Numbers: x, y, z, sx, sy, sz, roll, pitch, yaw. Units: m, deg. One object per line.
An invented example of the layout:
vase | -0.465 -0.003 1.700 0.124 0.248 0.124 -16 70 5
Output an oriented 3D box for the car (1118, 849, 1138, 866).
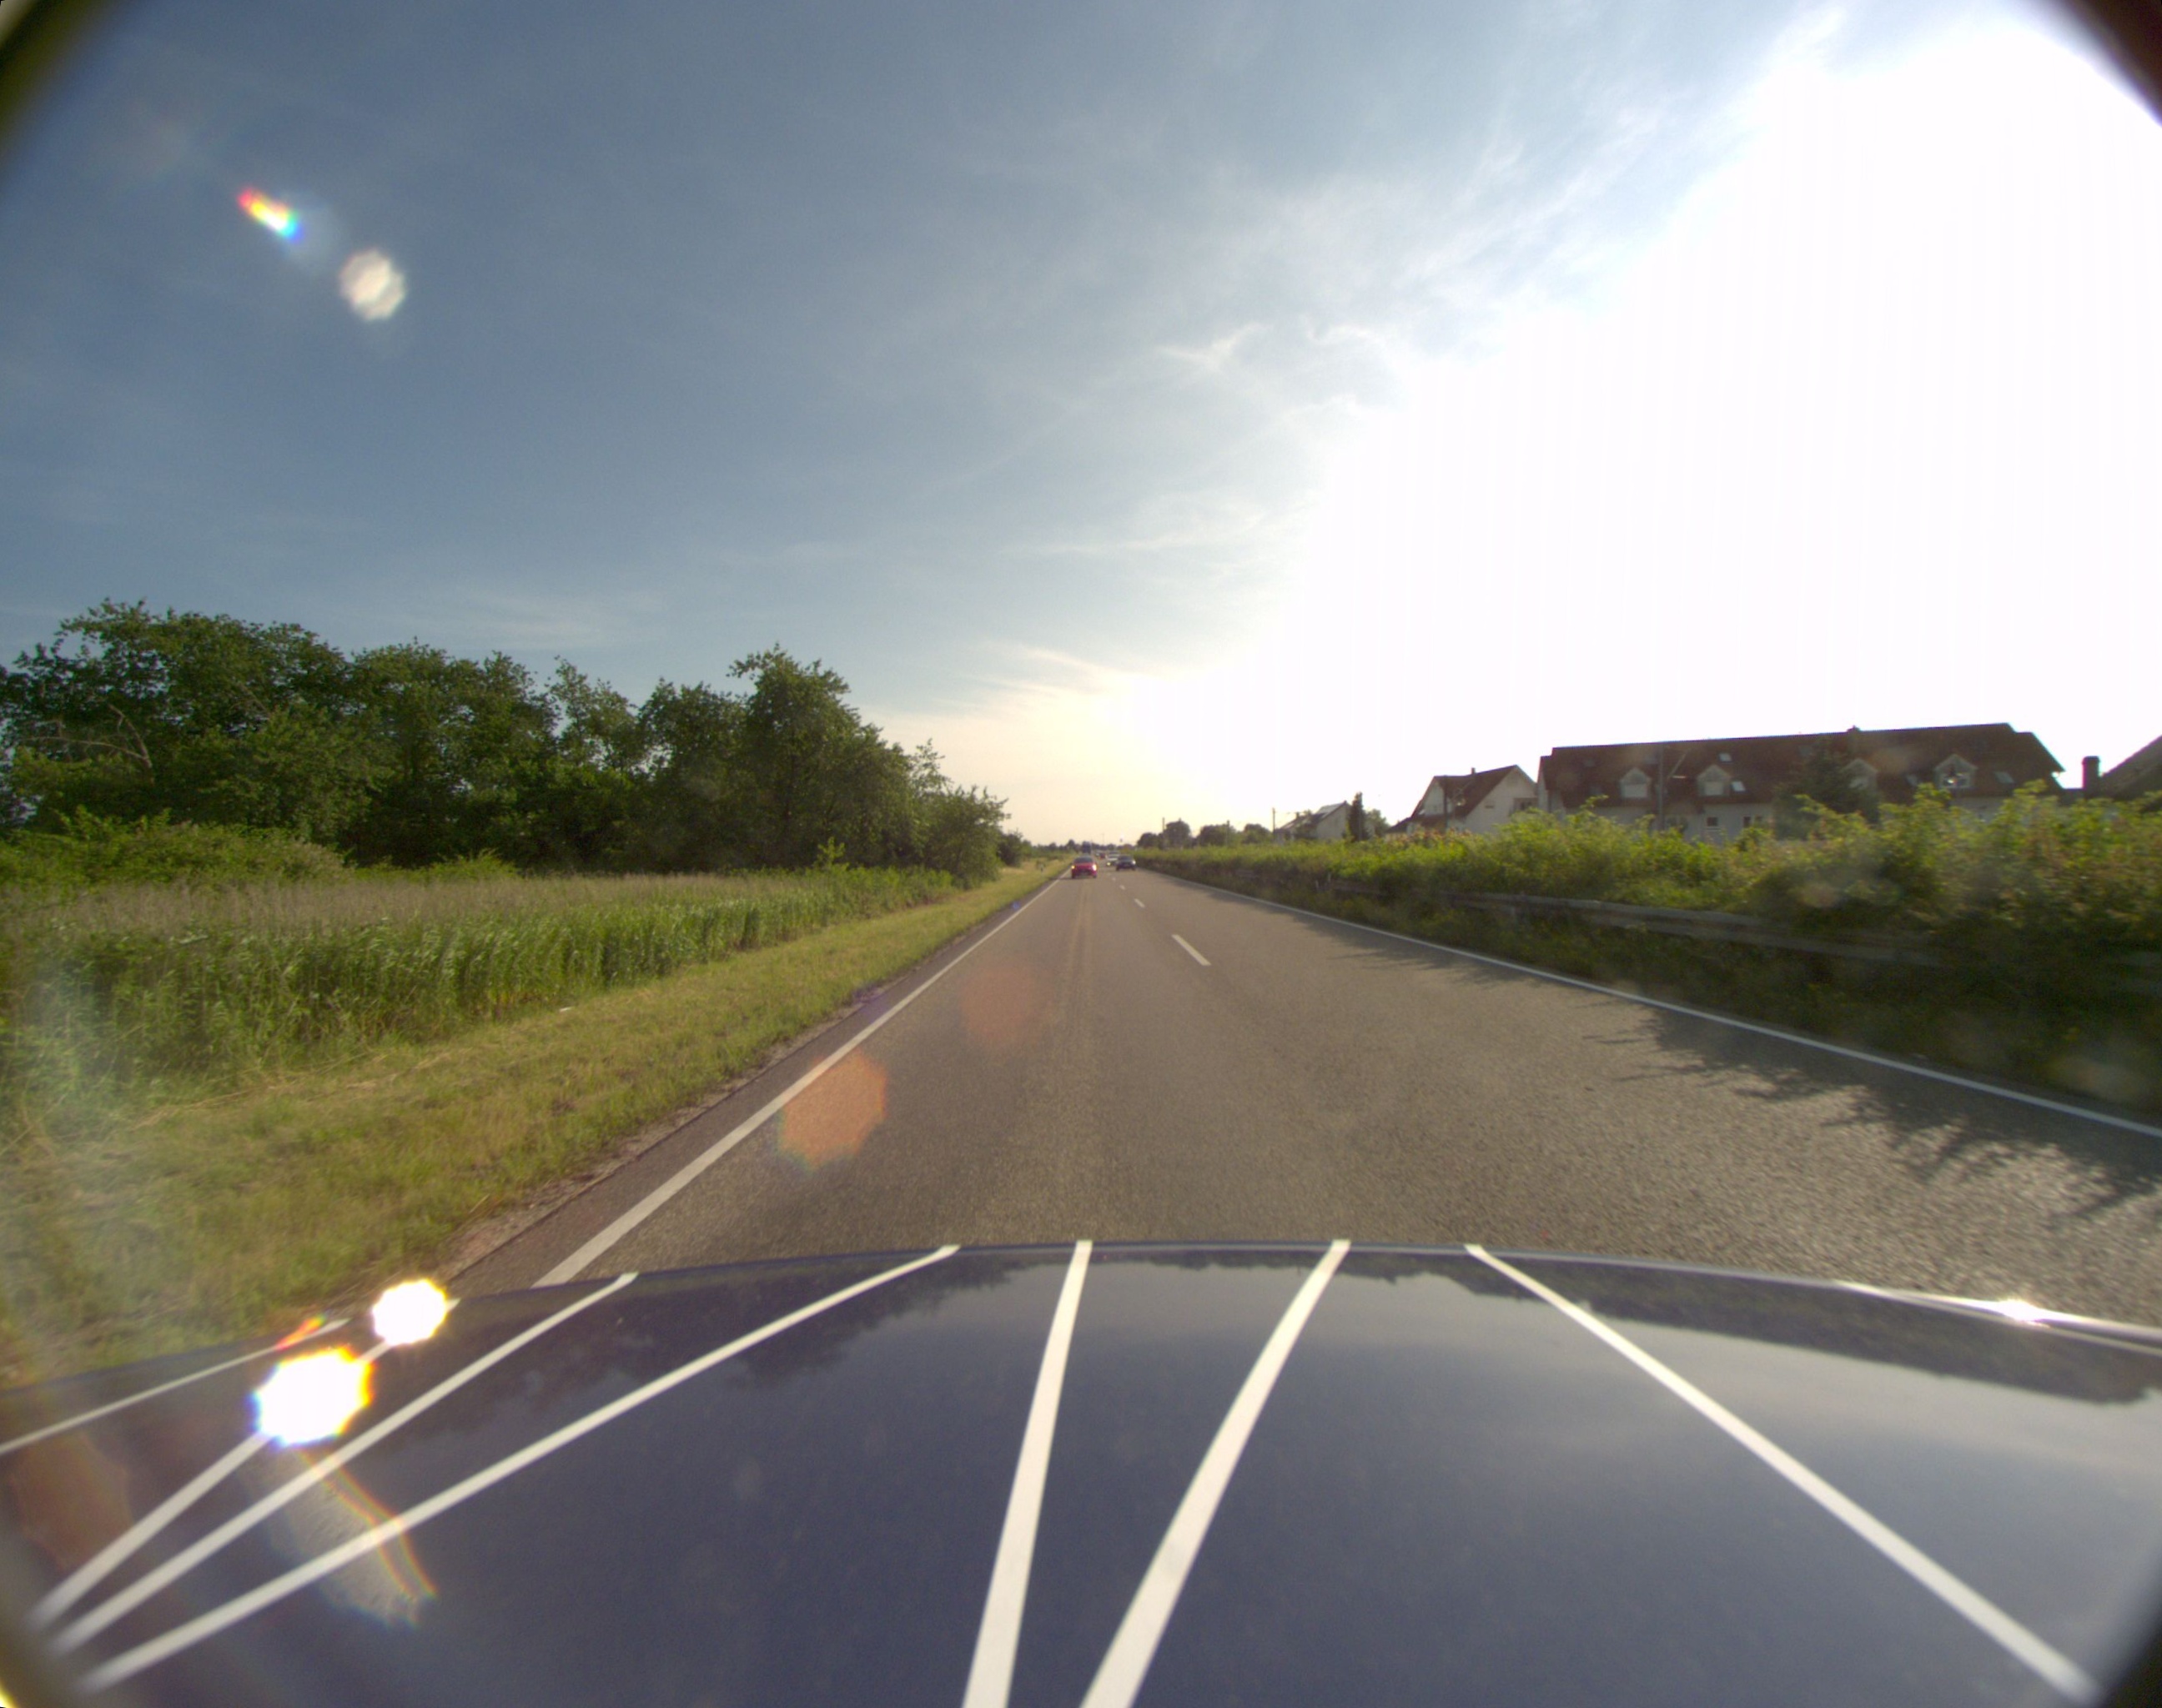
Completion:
car | 4.327 0.316 70.478 1.636 1.500 4.000 -3 1 1

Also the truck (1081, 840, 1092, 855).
truck | 1.525 -1.791 205.747 2.849 3.897 10.103 -3 1 1

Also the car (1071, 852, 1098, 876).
car | 0.271 0.652 52.650 1.735 1.467 4.000 -3 1 1

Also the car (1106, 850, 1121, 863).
car | 4.031 0.275 94.453 1.636 1.442 4.000 -3 1 1

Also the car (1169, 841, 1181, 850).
car | 20.823 -1.922 168.770 1.998 1.740 3.999 -3 1 0

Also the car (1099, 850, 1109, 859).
car | 5.086 0.050 168.813 1.998 2.002 4.000 -2 0 1
